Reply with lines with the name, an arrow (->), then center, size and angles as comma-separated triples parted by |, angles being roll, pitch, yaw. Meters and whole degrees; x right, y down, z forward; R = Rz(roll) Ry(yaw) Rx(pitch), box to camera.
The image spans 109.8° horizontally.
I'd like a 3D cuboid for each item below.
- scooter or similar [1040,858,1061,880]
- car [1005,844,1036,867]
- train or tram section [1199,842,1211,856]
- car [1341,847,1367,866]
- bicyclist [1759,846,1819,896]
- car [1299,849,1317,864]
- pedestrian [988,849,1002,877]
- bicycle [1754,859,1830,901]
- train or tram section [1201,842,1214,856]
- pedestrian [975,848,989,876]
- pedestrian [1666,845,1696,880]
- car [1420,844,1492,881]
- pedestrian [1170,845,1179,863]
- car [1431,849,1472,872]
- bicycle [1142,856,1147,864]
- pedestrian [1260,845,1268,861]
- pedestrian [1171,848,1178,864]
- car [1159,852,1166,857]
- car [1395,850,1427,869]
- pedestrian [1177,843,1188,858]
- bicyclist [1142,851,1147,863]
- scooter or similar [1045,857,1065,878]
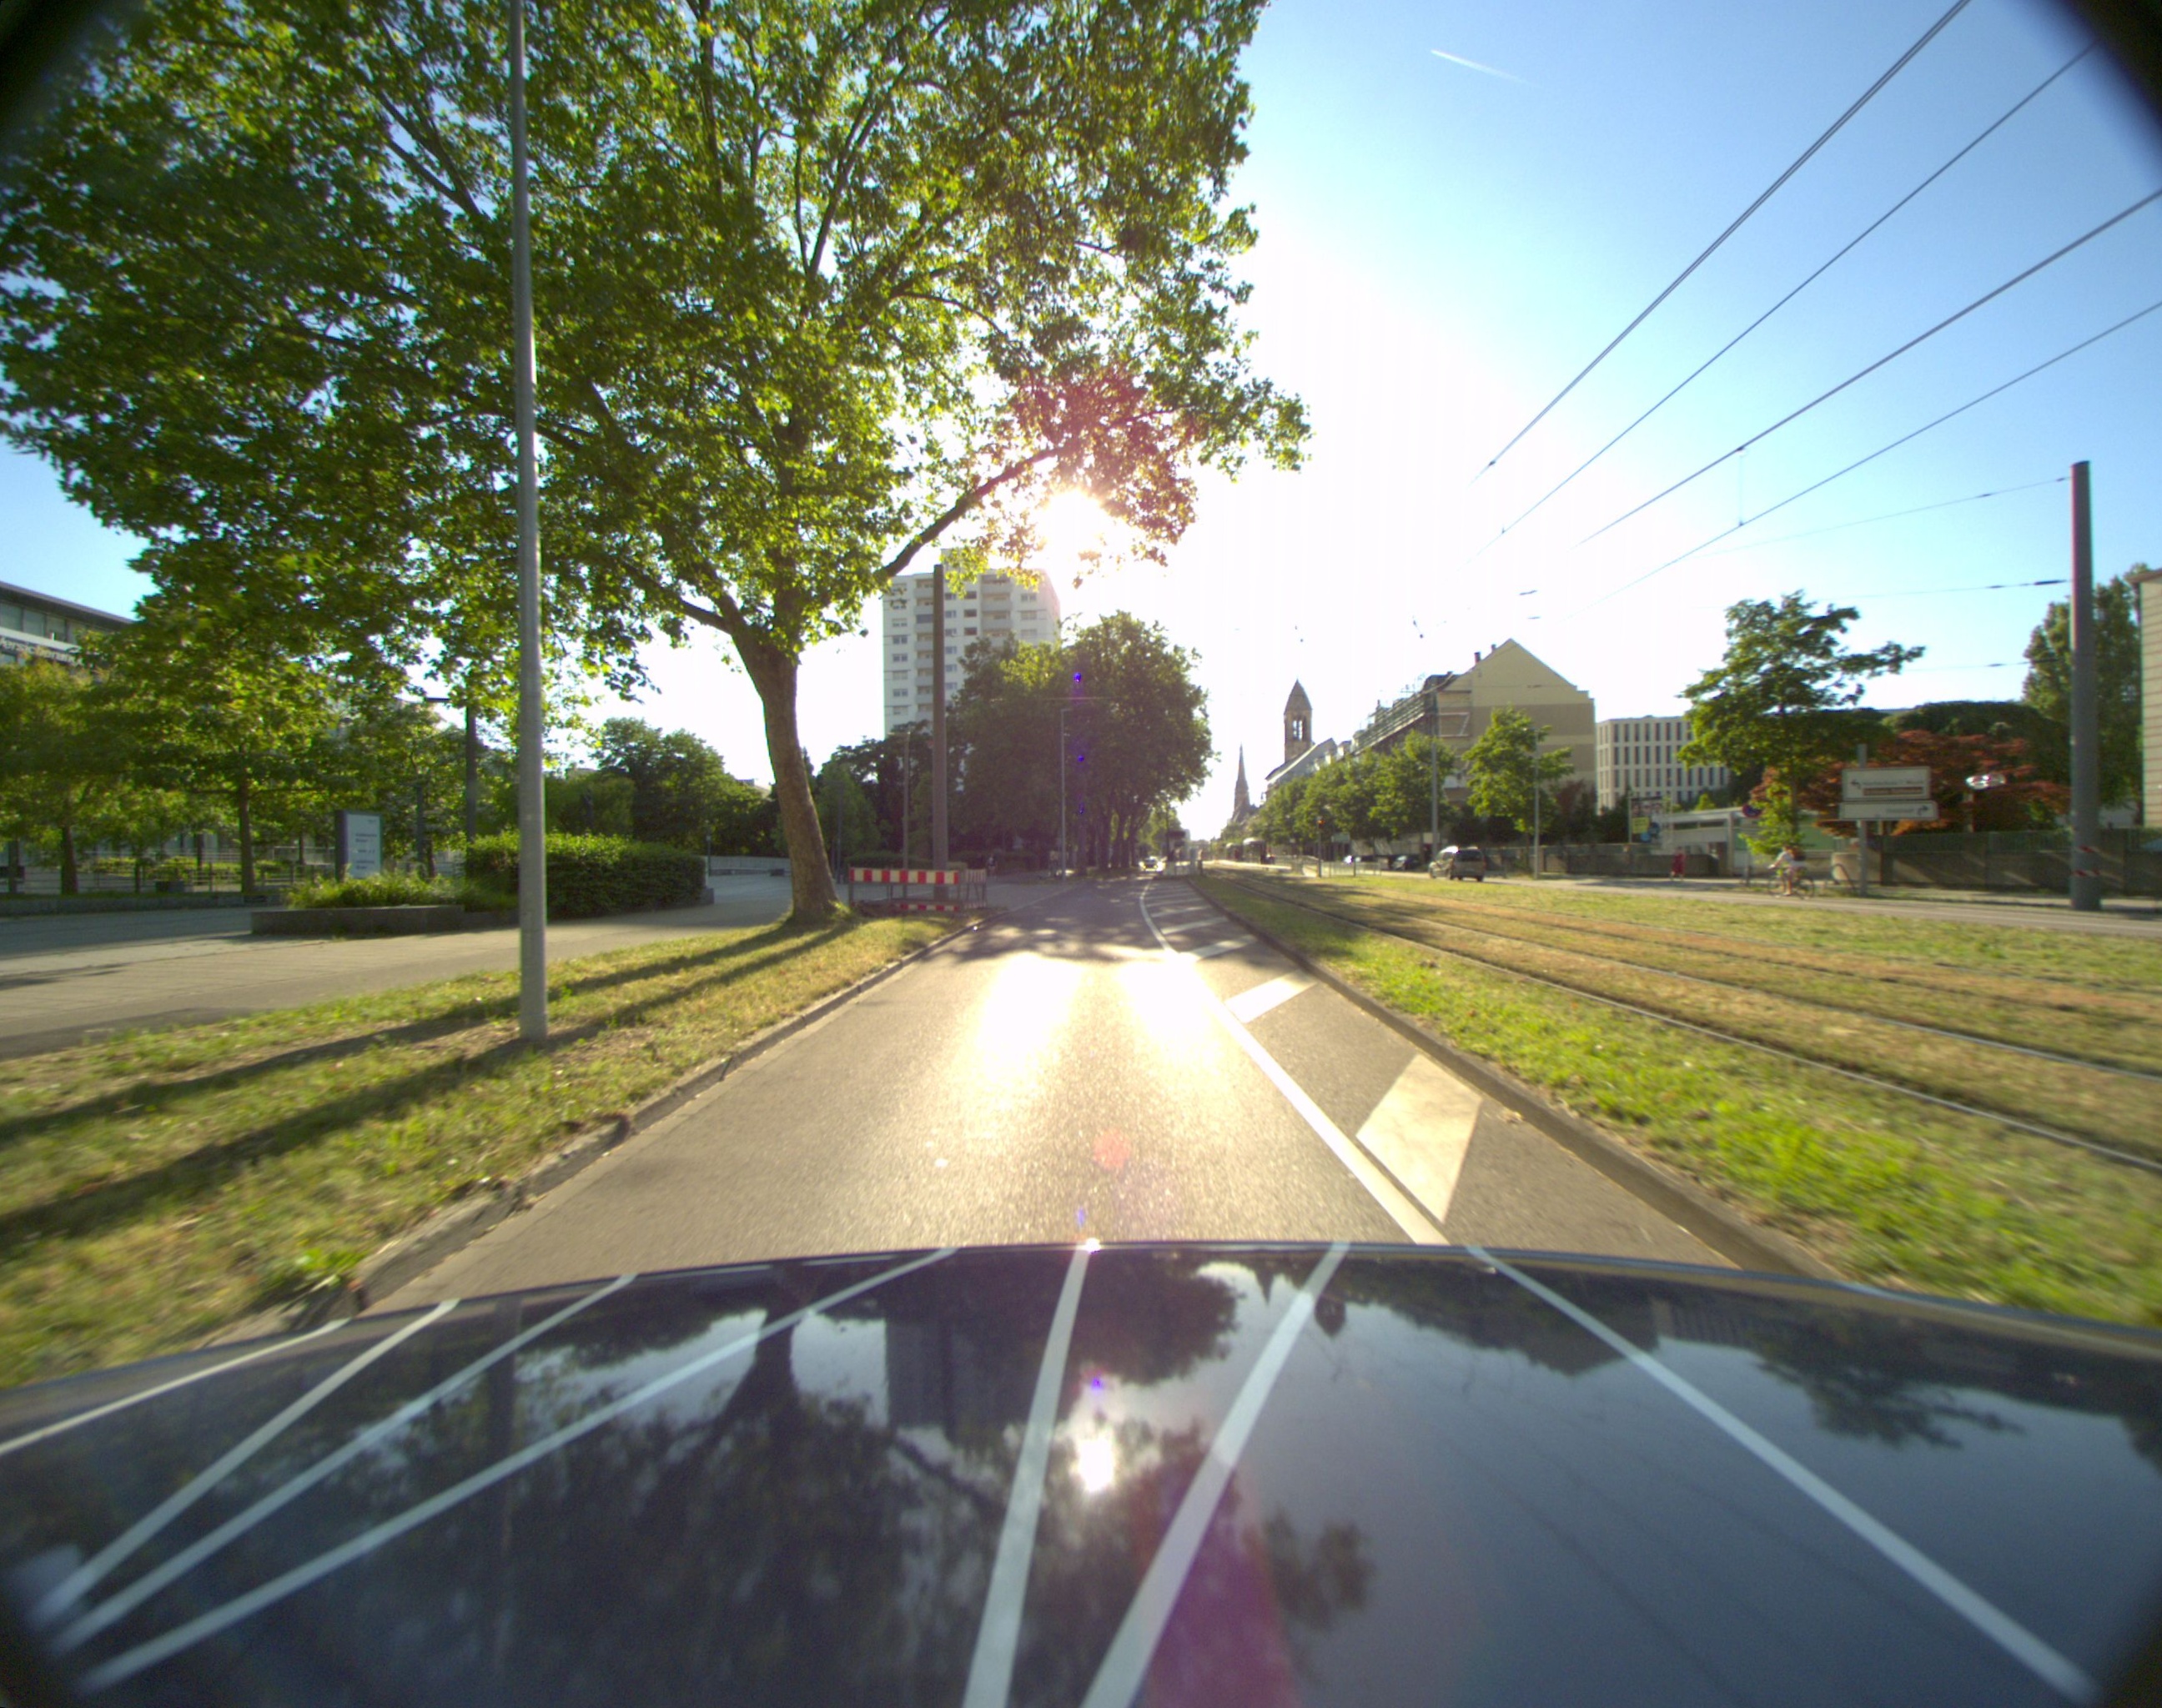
scooter or similar -> -1.770, 0.848, 43.945 | 1.054, 1.237, 0.842 | 0, 1, 9
car -> -6.954, 0.138, 88.518 | 1.997, 2.484, 6.350 | -3, 0, 9
train or tram section -> 35.154, -1.399, 215.290 | 2.875, 3.654, 14.568 | -1, 0, 7
car -> 31.926, 0.296, 88.883 | 1.997, 2.002, 4.002 | -3, 0, 9
bicyclist -> 21.700, 0.512, 23.307 | 0.776, 1.472, 1.134 | -3, 0, 7
car -> 35.291, 0.391, 118.144 | 1.944, 2.153, 3.787 | -3, 0, 7
pedestrian -> -5.028, 0.514, 44.435 | 0.629, 1.647, 0.740 | 0, 1, 7
bicycle -> 21.707, 0.766, 23.258 | 0.776, 1.186, 1.756 | -3, 0, 7
train or tram section -> 33.361, -1.298, 200.824 | 2.875, 3.664, 14.568 | -1, 0, 7
pedestrian -> -5.830, 0.470, 44.645 | 0.651, 1.647, 0.783 | 0, 1, 7
pedestrian -> 28.491, 0.390, 36.092 | 0.726, 1.638, 0.813 | 0, 1, 1
car -> 20.828, 0.430, 42.408 | 1.943, 1.907, 4.473 | 1, 0, 3
pedestrian -> 9.016, 0.009, 73.172 | 0.758, 1.680, 0.679 | -3, 0, 7
car -> 27.998, 0.440, 57.538 | 1.724, 1.577, 4.068 | -3, 0, 11
bicycle -> 7.980, 0.711, 95.420 | 0.604, 1.020, 1.767 | -1, 0, 6
pedestrian -> 20.501, -0.112, 85.116 | 0.680, 1.680, 0.655 | -3, 0, 5
pedestrian -> 9.900, 0.227, 80.495 | 0.680, 1.680, 0.895 | -3, 0, 7
car -> 22.571, 0.096, 210.076 | 1.635, 1.491, 4.002 | 2, 0, 7
car -> 29.707, 0.446, 68.438 | 1.724, 1.577, 4.068 | -3, 0, 11
pedestrian -> 11.767, -0.370, 88.007 | 0.911, 1.712, 0.630 | -3, 0, -27
bicyclist -> 7.991, 0.363, 95.527 | 0.604, 1.542, 0.860 | -1, 1, 6
scooter or similar -> -1.516, 0.775, 44.812 | 1.054, 1.237, 0.842 | 0, 1, 9
